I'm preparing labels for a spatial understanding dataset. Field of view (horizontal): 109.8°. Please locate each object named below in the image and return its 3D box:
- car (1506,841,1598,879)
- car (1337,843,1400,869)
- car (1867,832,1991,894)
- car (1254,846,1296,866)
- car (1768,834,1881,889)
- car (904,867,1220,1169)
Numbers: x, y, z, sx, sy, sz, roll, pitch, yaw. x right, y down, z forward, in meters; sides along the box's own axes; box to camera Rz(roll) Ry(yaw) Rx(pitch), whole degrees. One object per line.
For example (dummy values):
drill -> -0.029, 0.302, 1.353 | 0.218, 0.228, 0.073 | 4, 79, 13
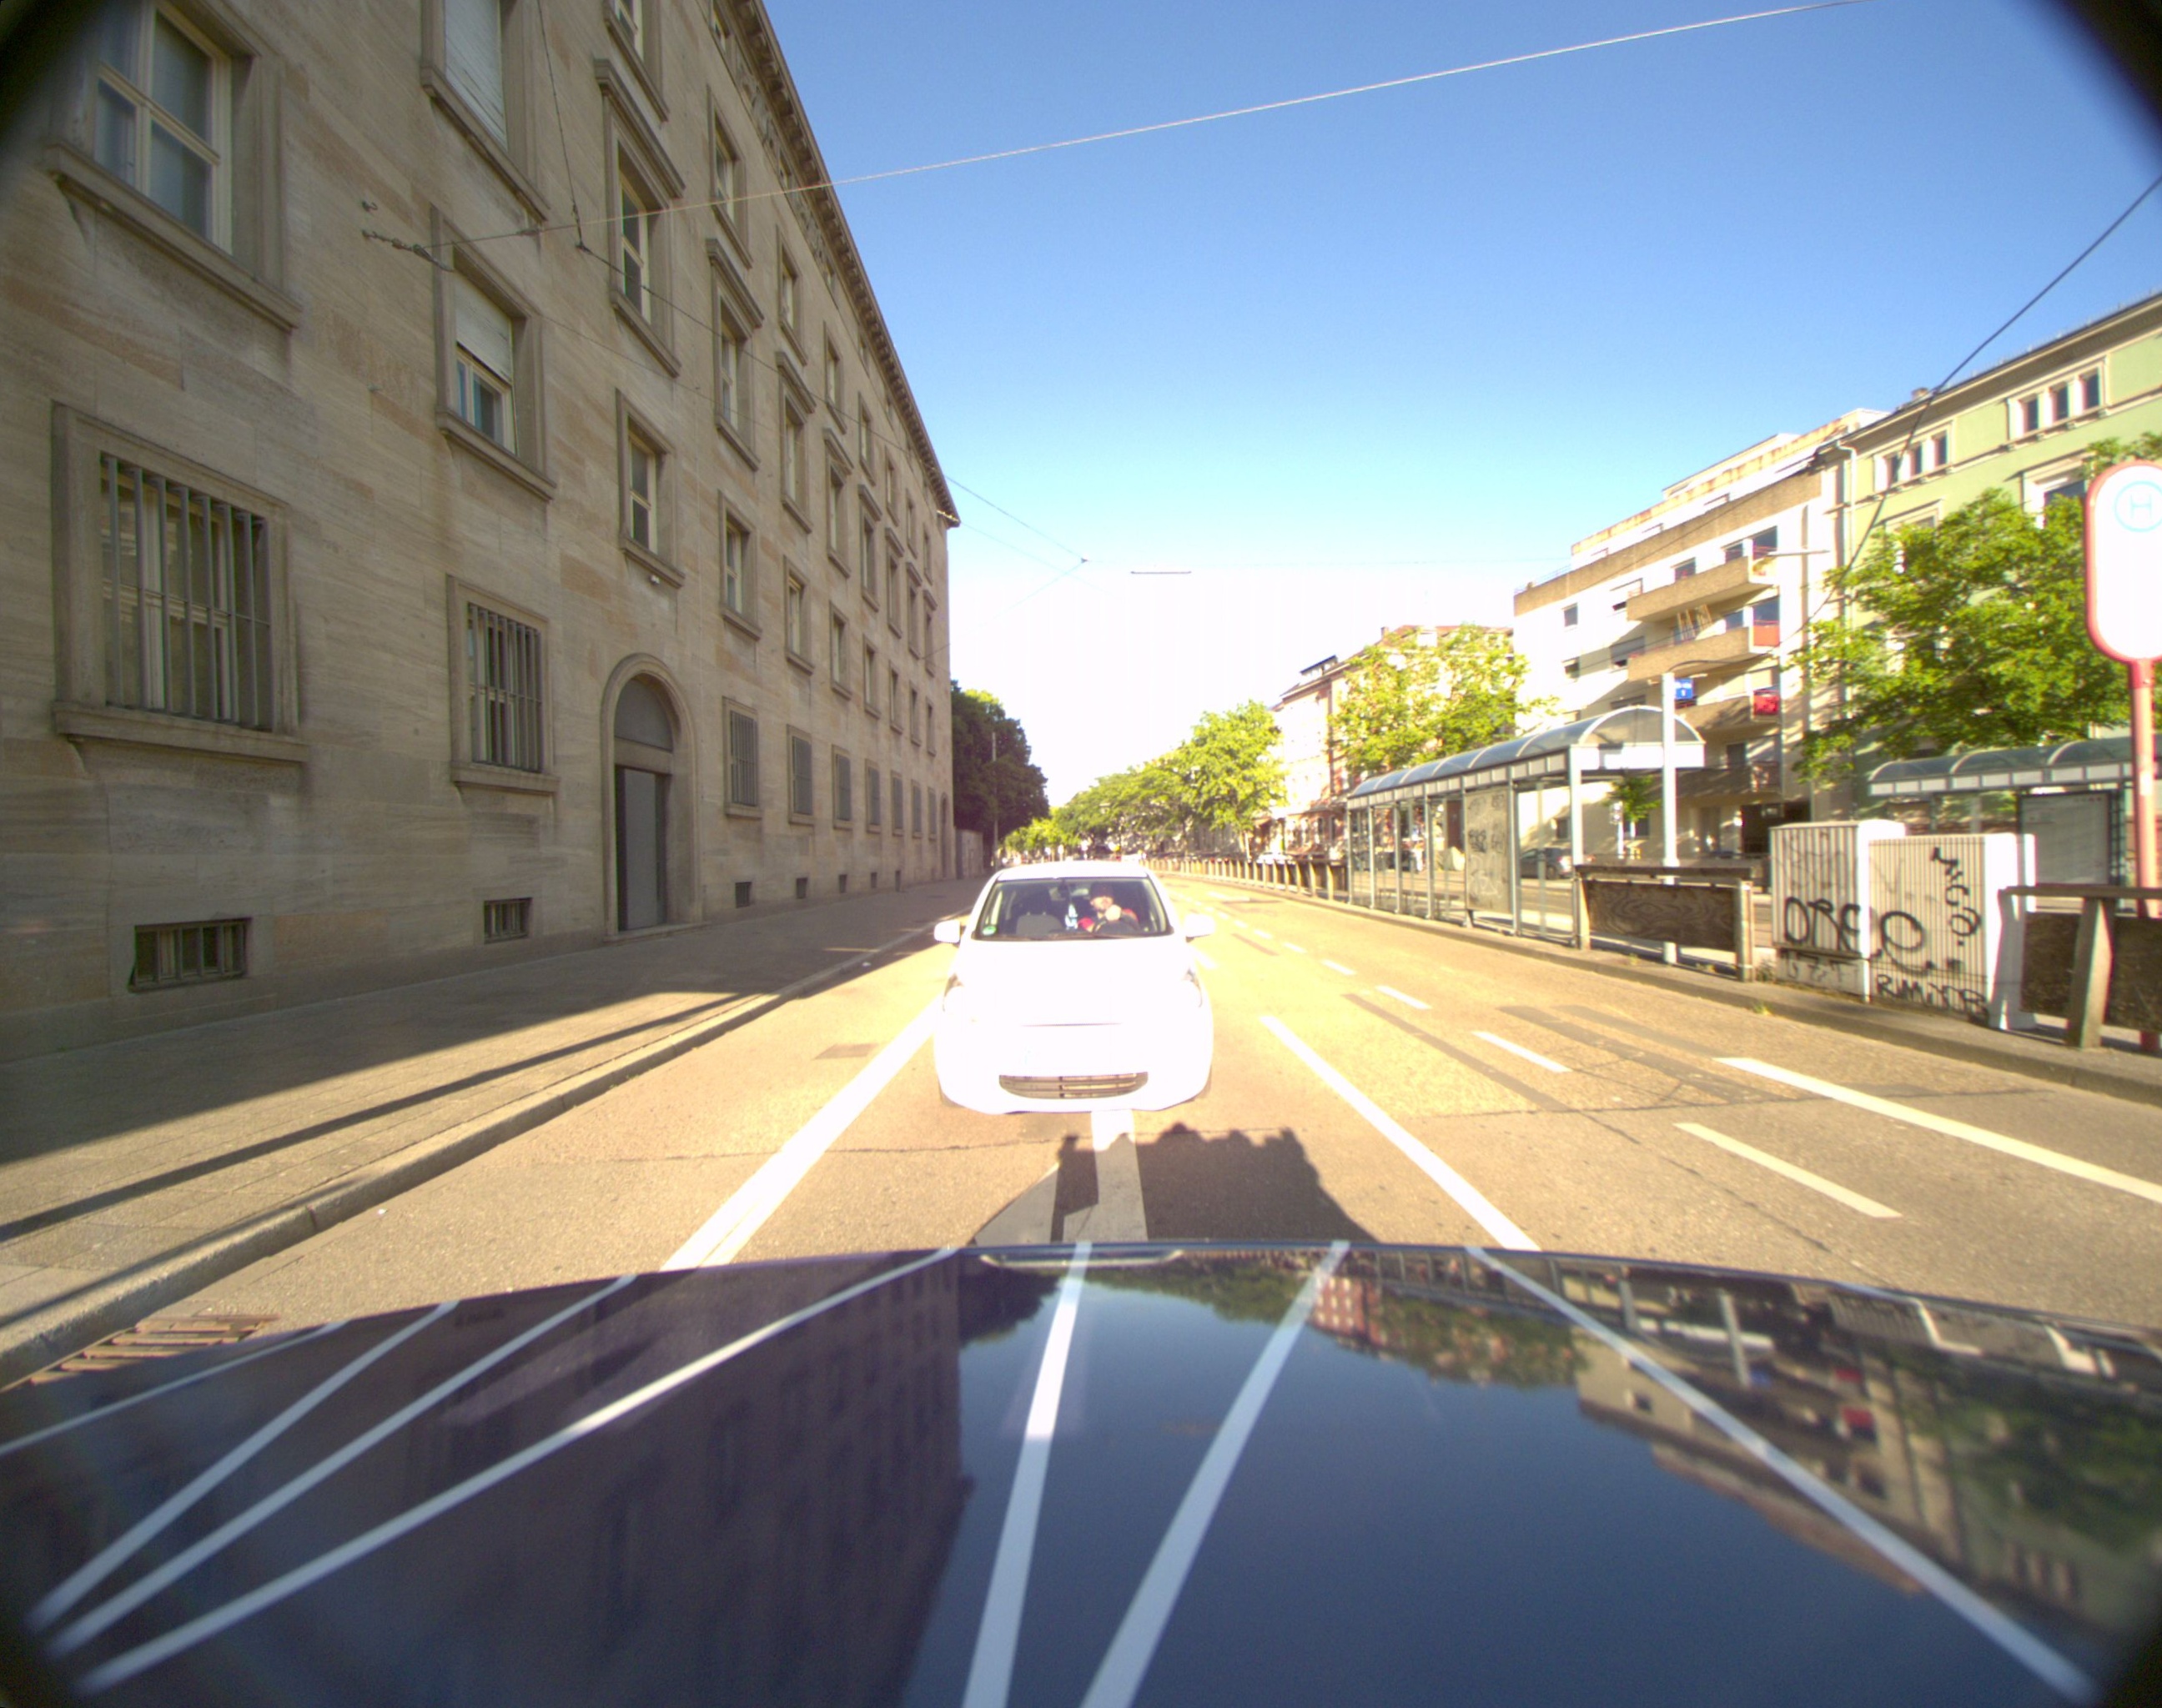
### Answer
car -> 20.915, 0.229, 33.935 | 1.631, 1.558, 3.598 | -2, 1, -5
car -> 19.545, 0.120, 51.725 | 3.599, 1.558, 1.630 | -2, 1, -7
car -> 24.462, 0.229, 21.892 | 3.605, 1.558, 1.627 | -3, 1, -29
car -> 16.260, 0.150, 63.479 | 3.607, 1.558, 1.627 | -3, 1, -42
car -> 23.884, 0.223, 24.405 | 3.605, 1.558, 1.627 | -3, 1, -29
car -> -0.075, 0.899, 5.812 | 1.612, 1.462, 3.631 | -2, 0, 1
